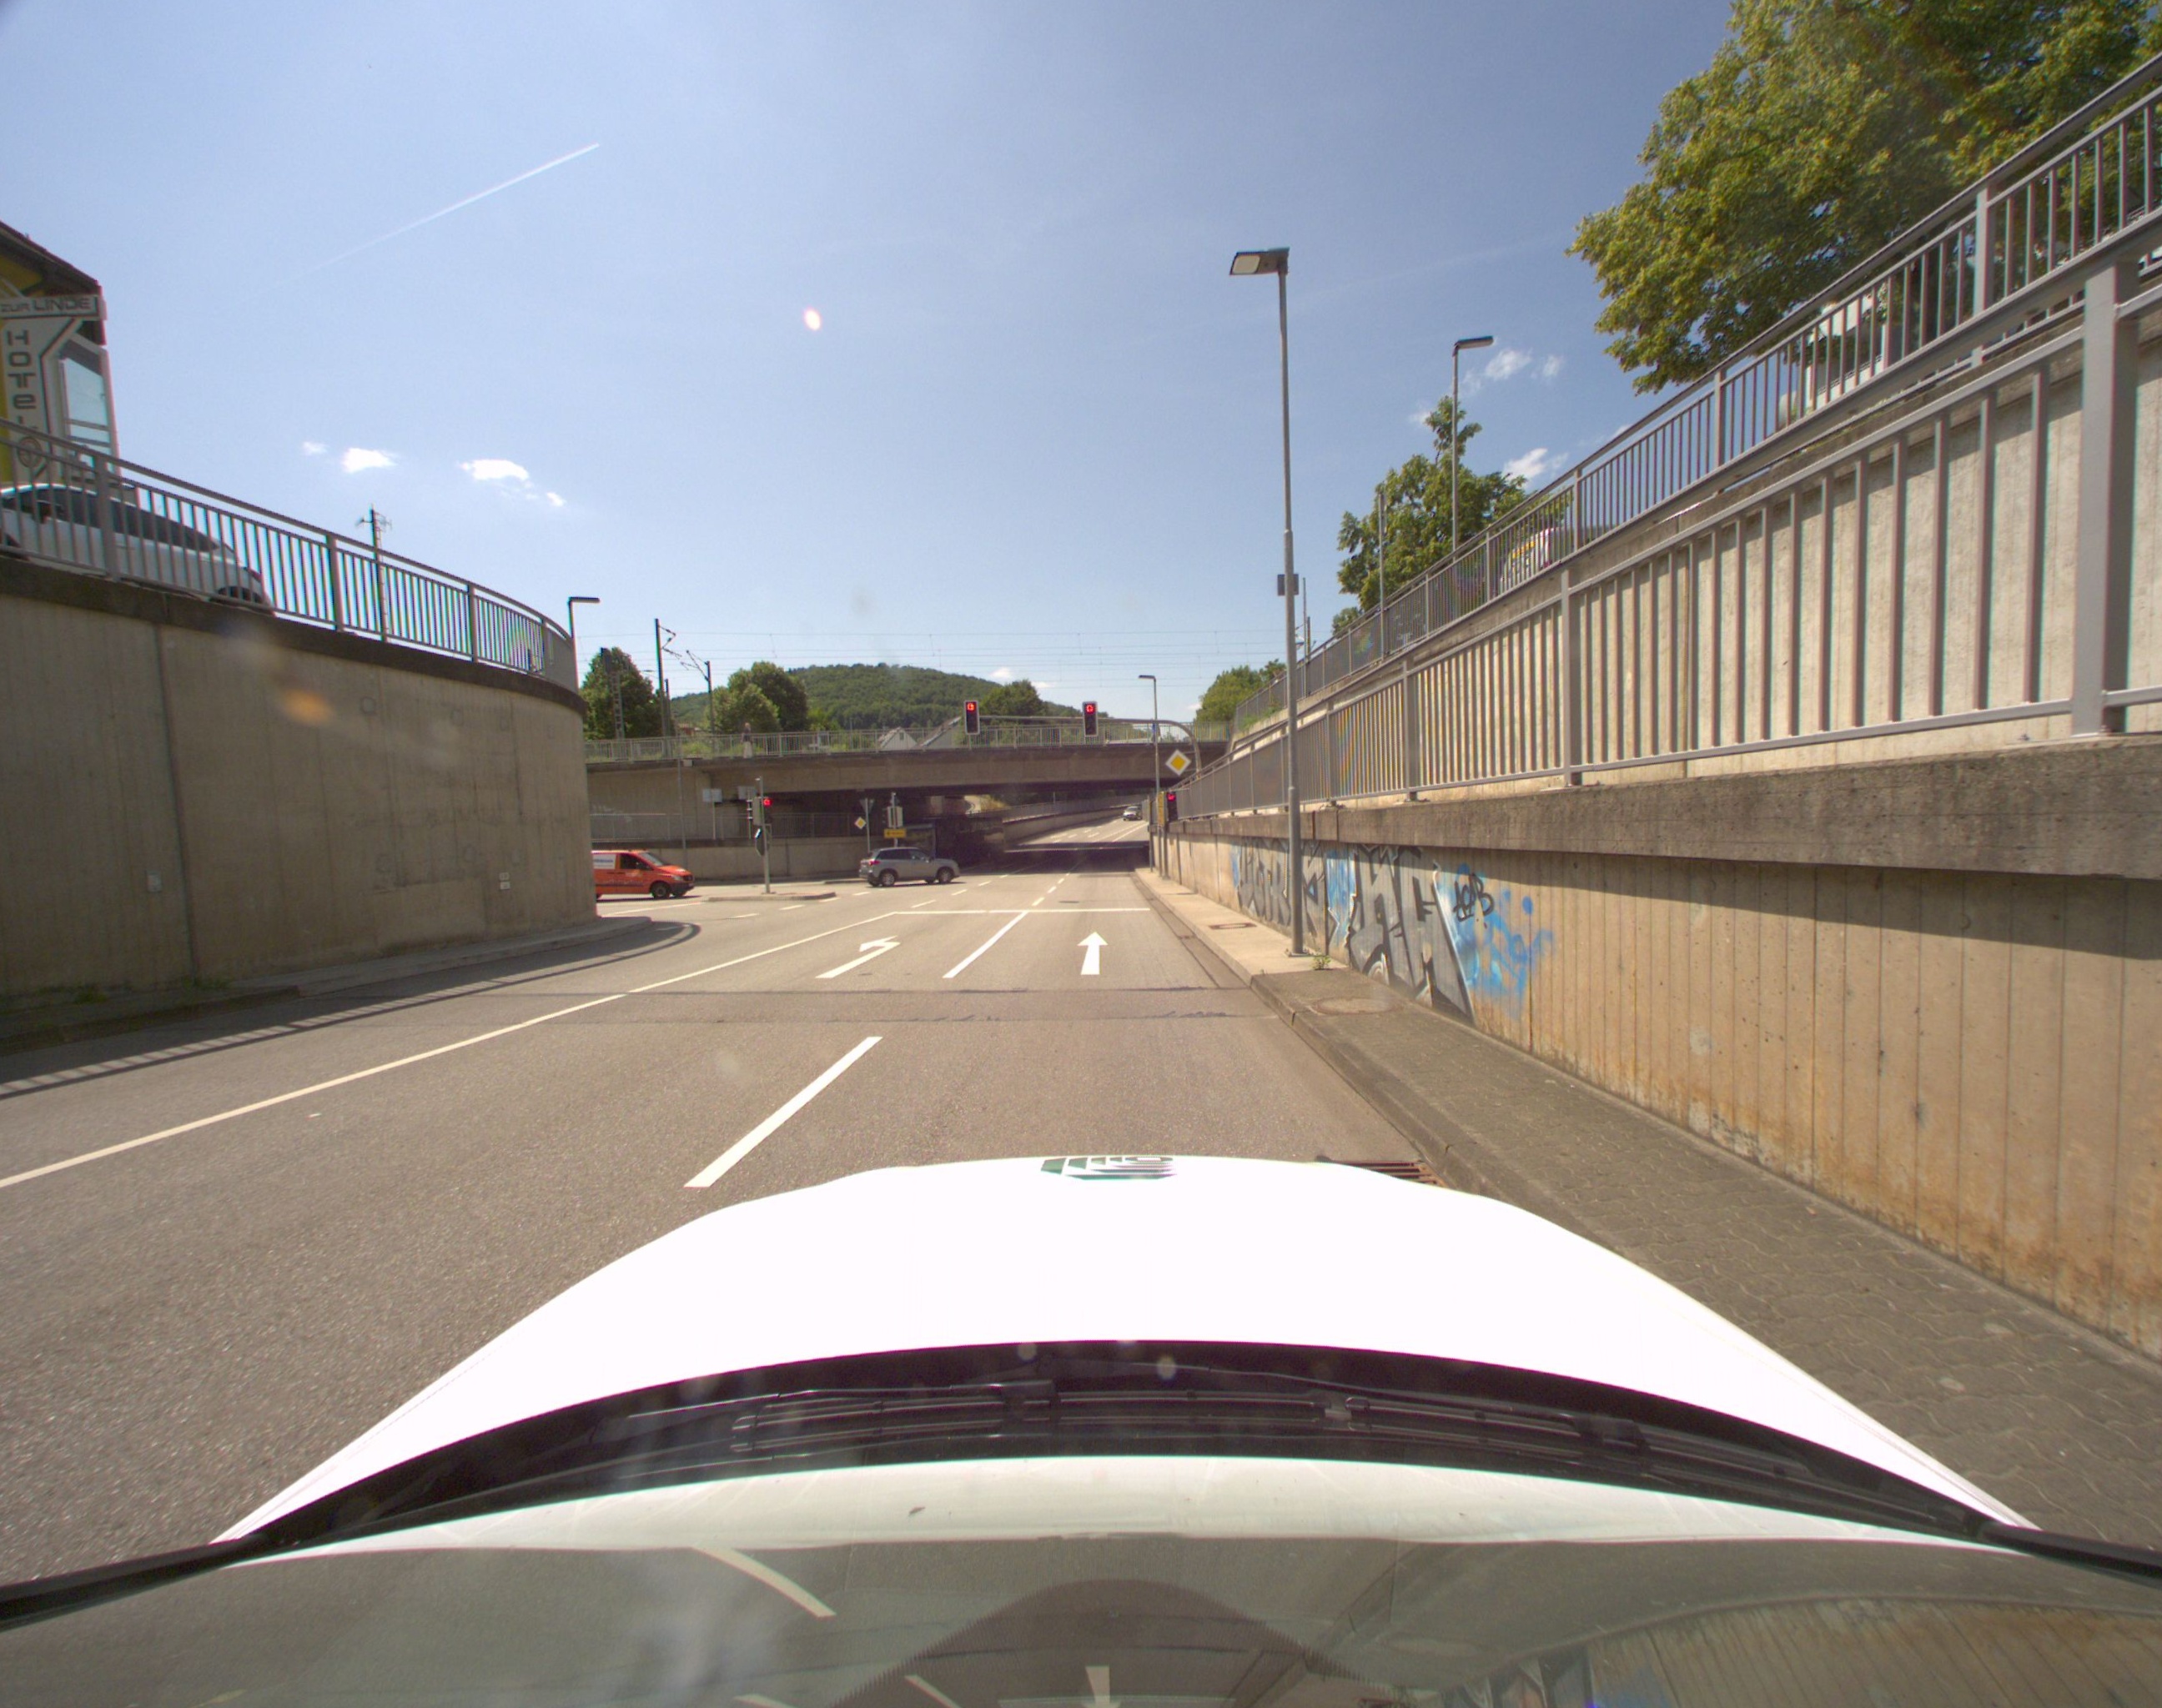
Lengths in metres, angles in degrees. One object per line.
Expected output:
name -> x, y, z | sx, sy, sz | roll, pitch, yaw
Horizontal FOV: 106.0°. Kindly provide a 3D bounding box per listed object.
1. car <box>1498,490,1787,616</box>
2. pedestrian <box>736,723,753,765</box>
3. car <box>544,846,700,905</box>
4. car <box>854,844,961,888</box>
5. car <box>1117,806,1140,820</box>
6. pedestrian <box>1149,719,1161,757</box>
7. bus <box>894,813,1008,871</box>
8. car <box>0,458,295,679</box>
car -> 10.005, -5.376, 14.773 | 3.969, 1.486, 1.772 | -1, 0, 4
pedestrian -> -17.036, -5.554, 41.206 | 0.576, 2.081, 0.533 | -2, 0, -9
car -> -17.266, 0.766, 30.850 | 4.702, 1.932, 1.874 | -2, 2, -9
car -> -7.304, 0.460, 34.369 | 4.013, 1.617, 1.793 | -3, 3, -31
car -> 5.928, -5.043, 100.949 | 1.978, 1.627, 4.018 | -1, 3, 16
pedestrian -> 4.192, -6.582, 46.267 | 0.538, 2.081, 0.534 | -2, 0, -6
bus -> -7.807, -0.982, 51.401 | 2.563, 3.172, 12.423 | -1, 3, 13
car -> -11.823, -3.178, 9.202 | 1.896, 1.667, 4.000 | -1, 3, 0
